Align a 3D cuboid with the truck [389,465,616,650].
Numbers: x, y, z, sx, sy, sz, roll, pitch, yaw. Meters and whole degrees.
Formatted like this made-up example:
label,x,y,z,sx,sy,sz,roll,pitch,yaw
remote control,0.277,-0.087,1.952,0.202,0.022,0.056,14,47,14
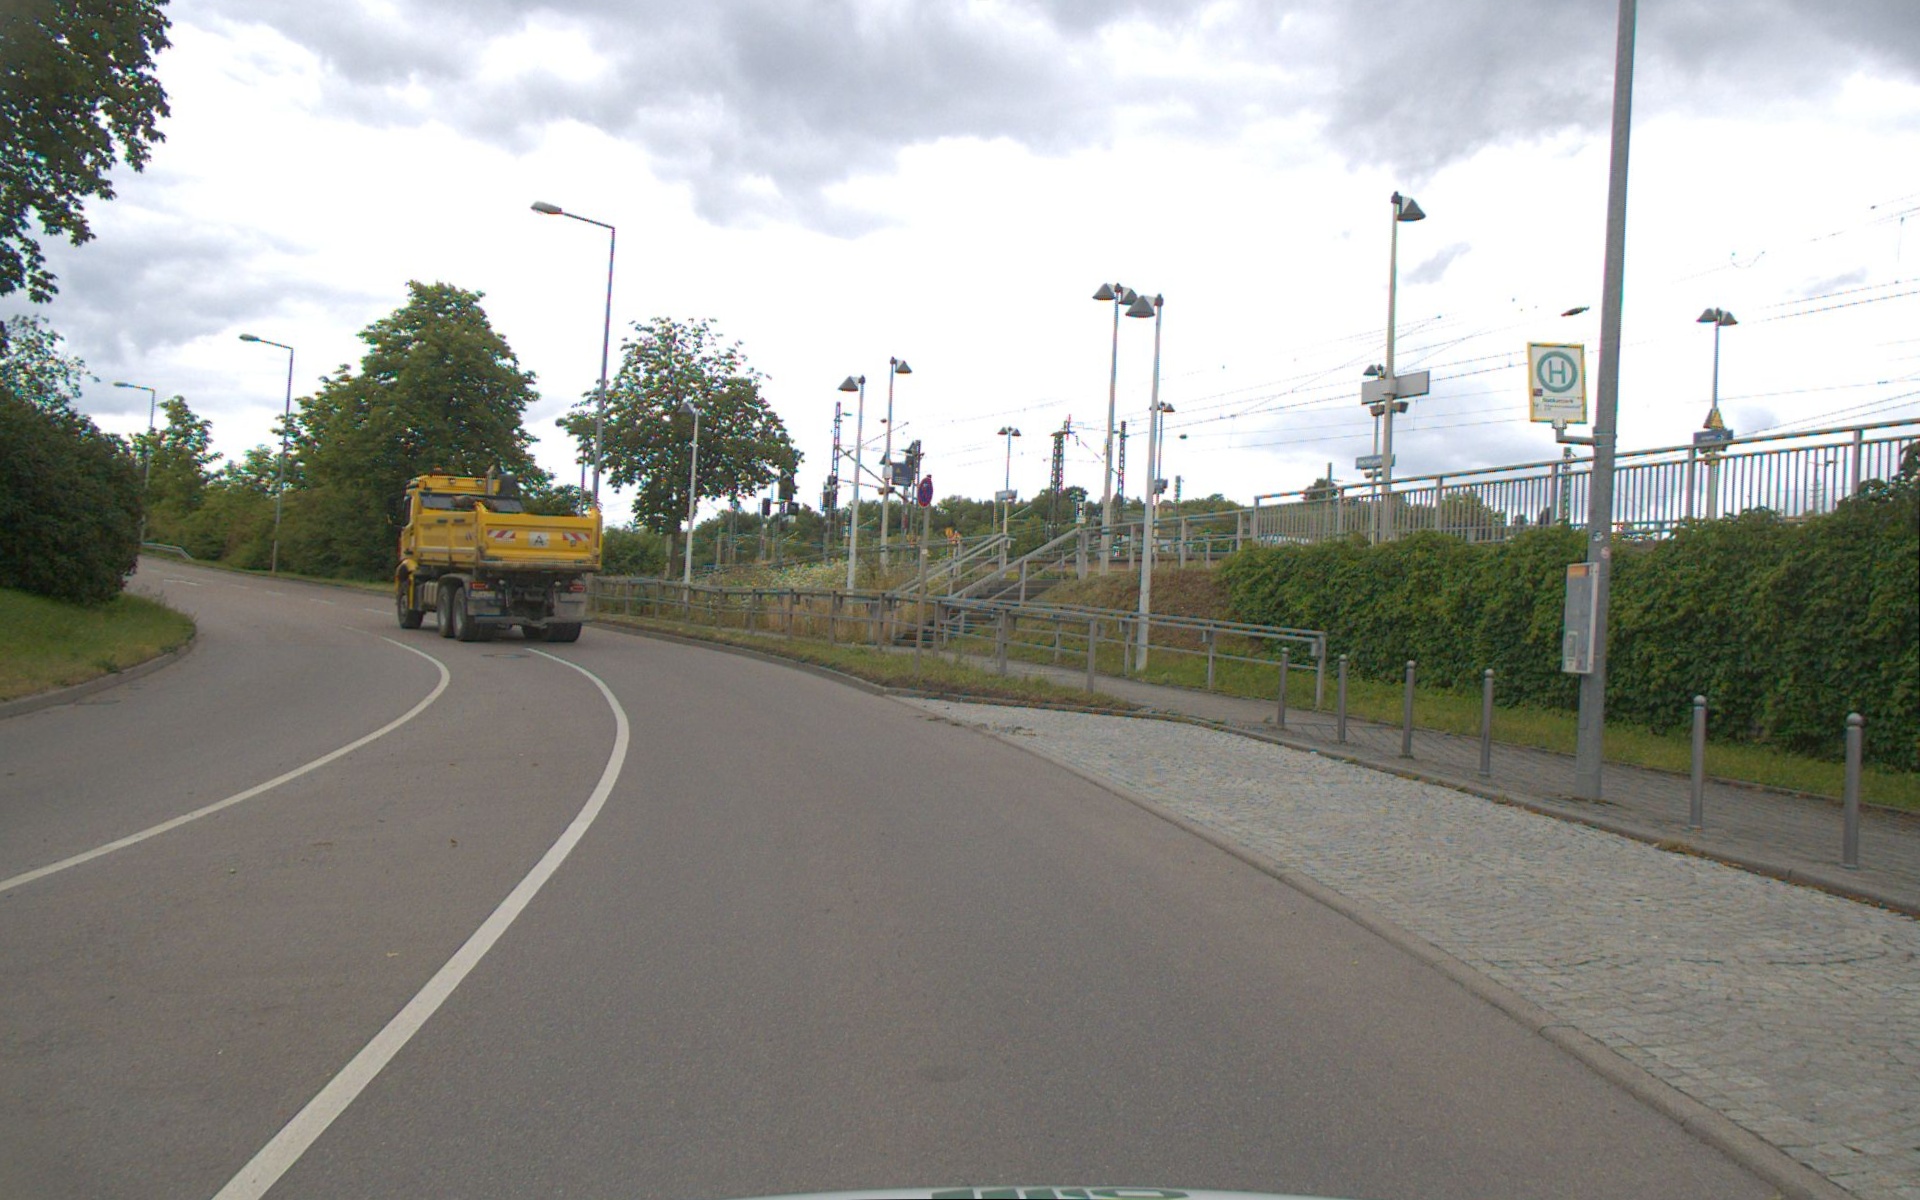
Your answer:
label,x,y,z,sx,sy,sz,roll,pitch,yaw
truck,-10.162,-0.974,36.020,2.736,3.544,8.047,1,2,-30
